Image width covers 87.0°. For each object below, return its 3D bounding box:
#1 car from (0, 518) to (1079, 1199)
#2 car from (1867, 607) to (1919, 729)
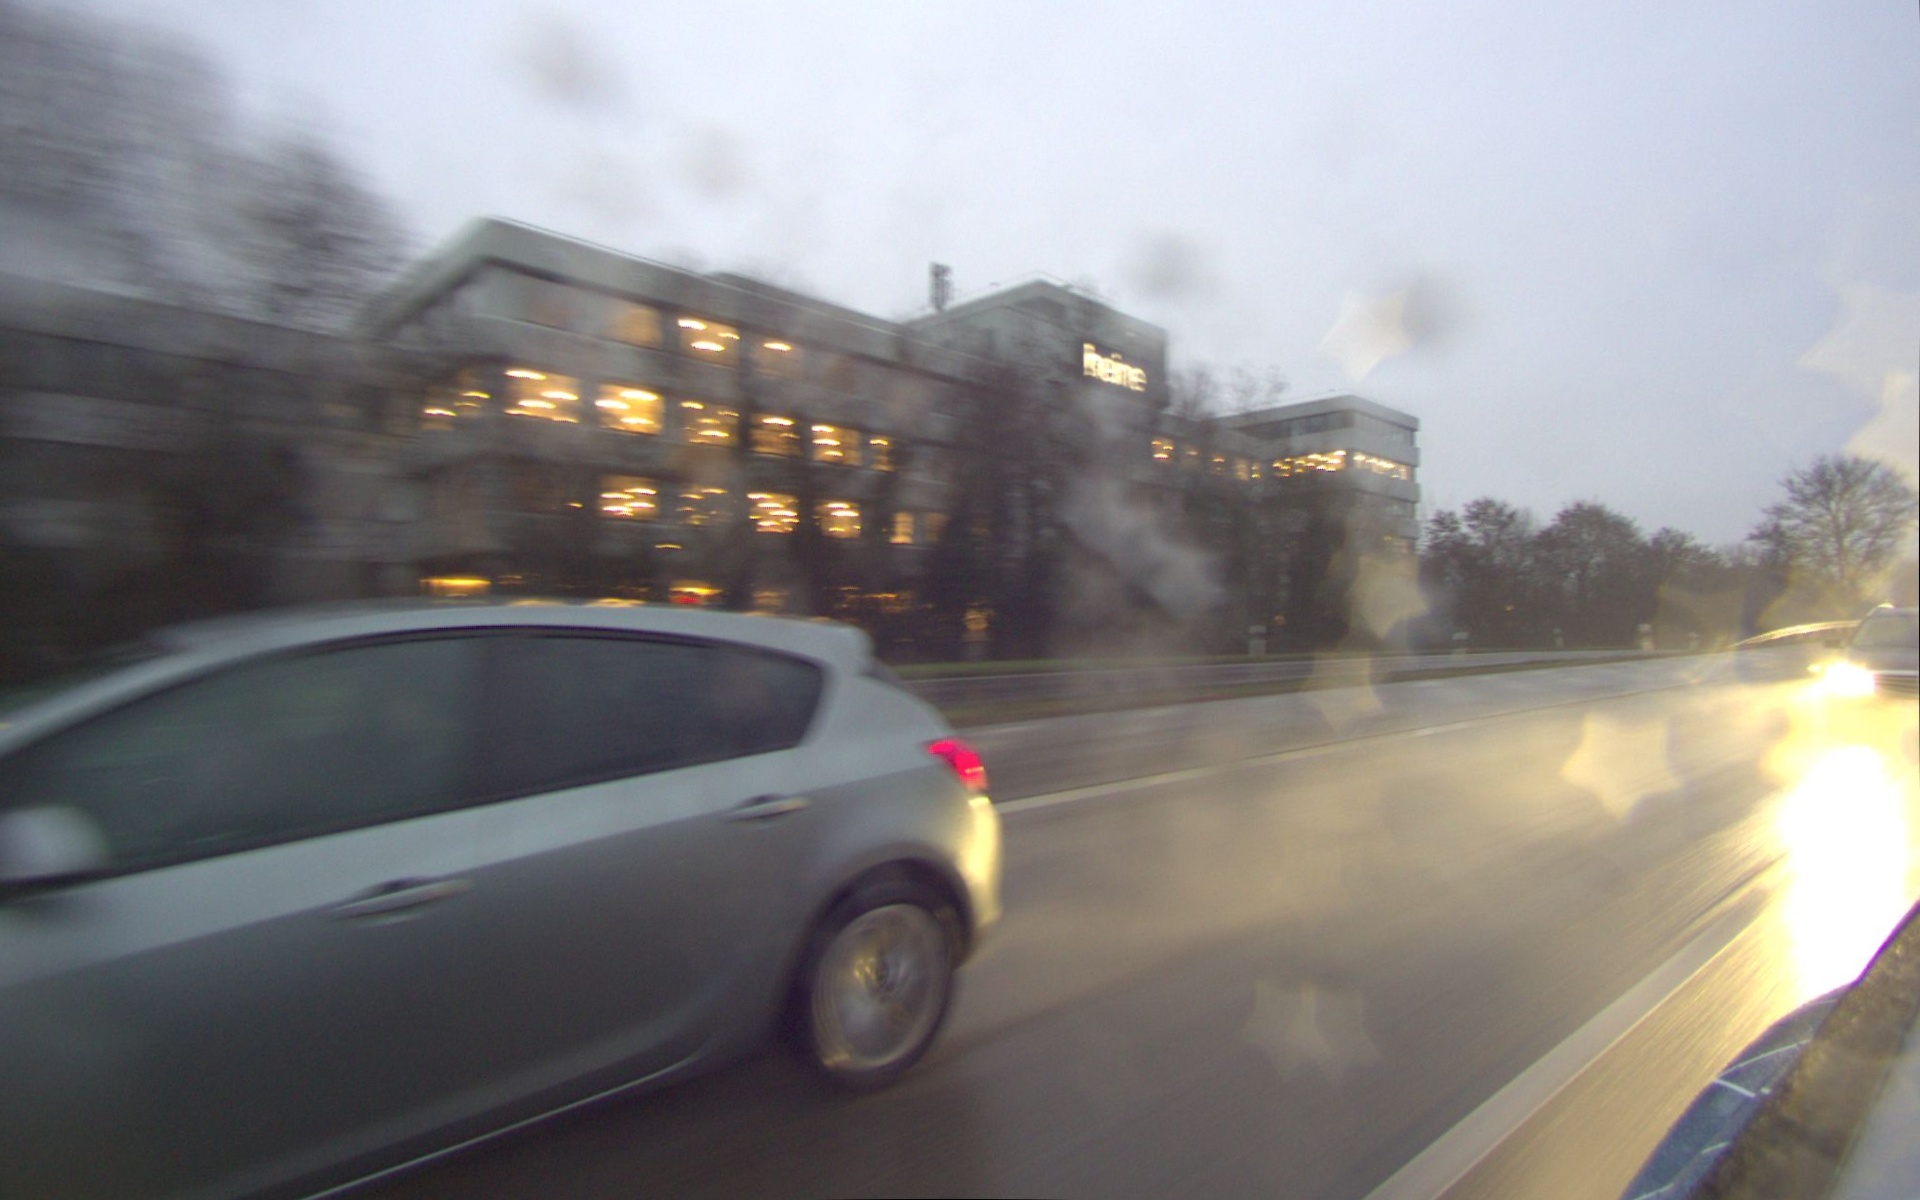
[{"bbox_3d":[-1.754,0.624,2.845,4.189,1.521,1.852,0,0,-42],"label":"car"},{"bbox_3d":[13.433,0.832,13.242,4.099,1.472,1.595,0,-1,-38],"label":"car"}]
